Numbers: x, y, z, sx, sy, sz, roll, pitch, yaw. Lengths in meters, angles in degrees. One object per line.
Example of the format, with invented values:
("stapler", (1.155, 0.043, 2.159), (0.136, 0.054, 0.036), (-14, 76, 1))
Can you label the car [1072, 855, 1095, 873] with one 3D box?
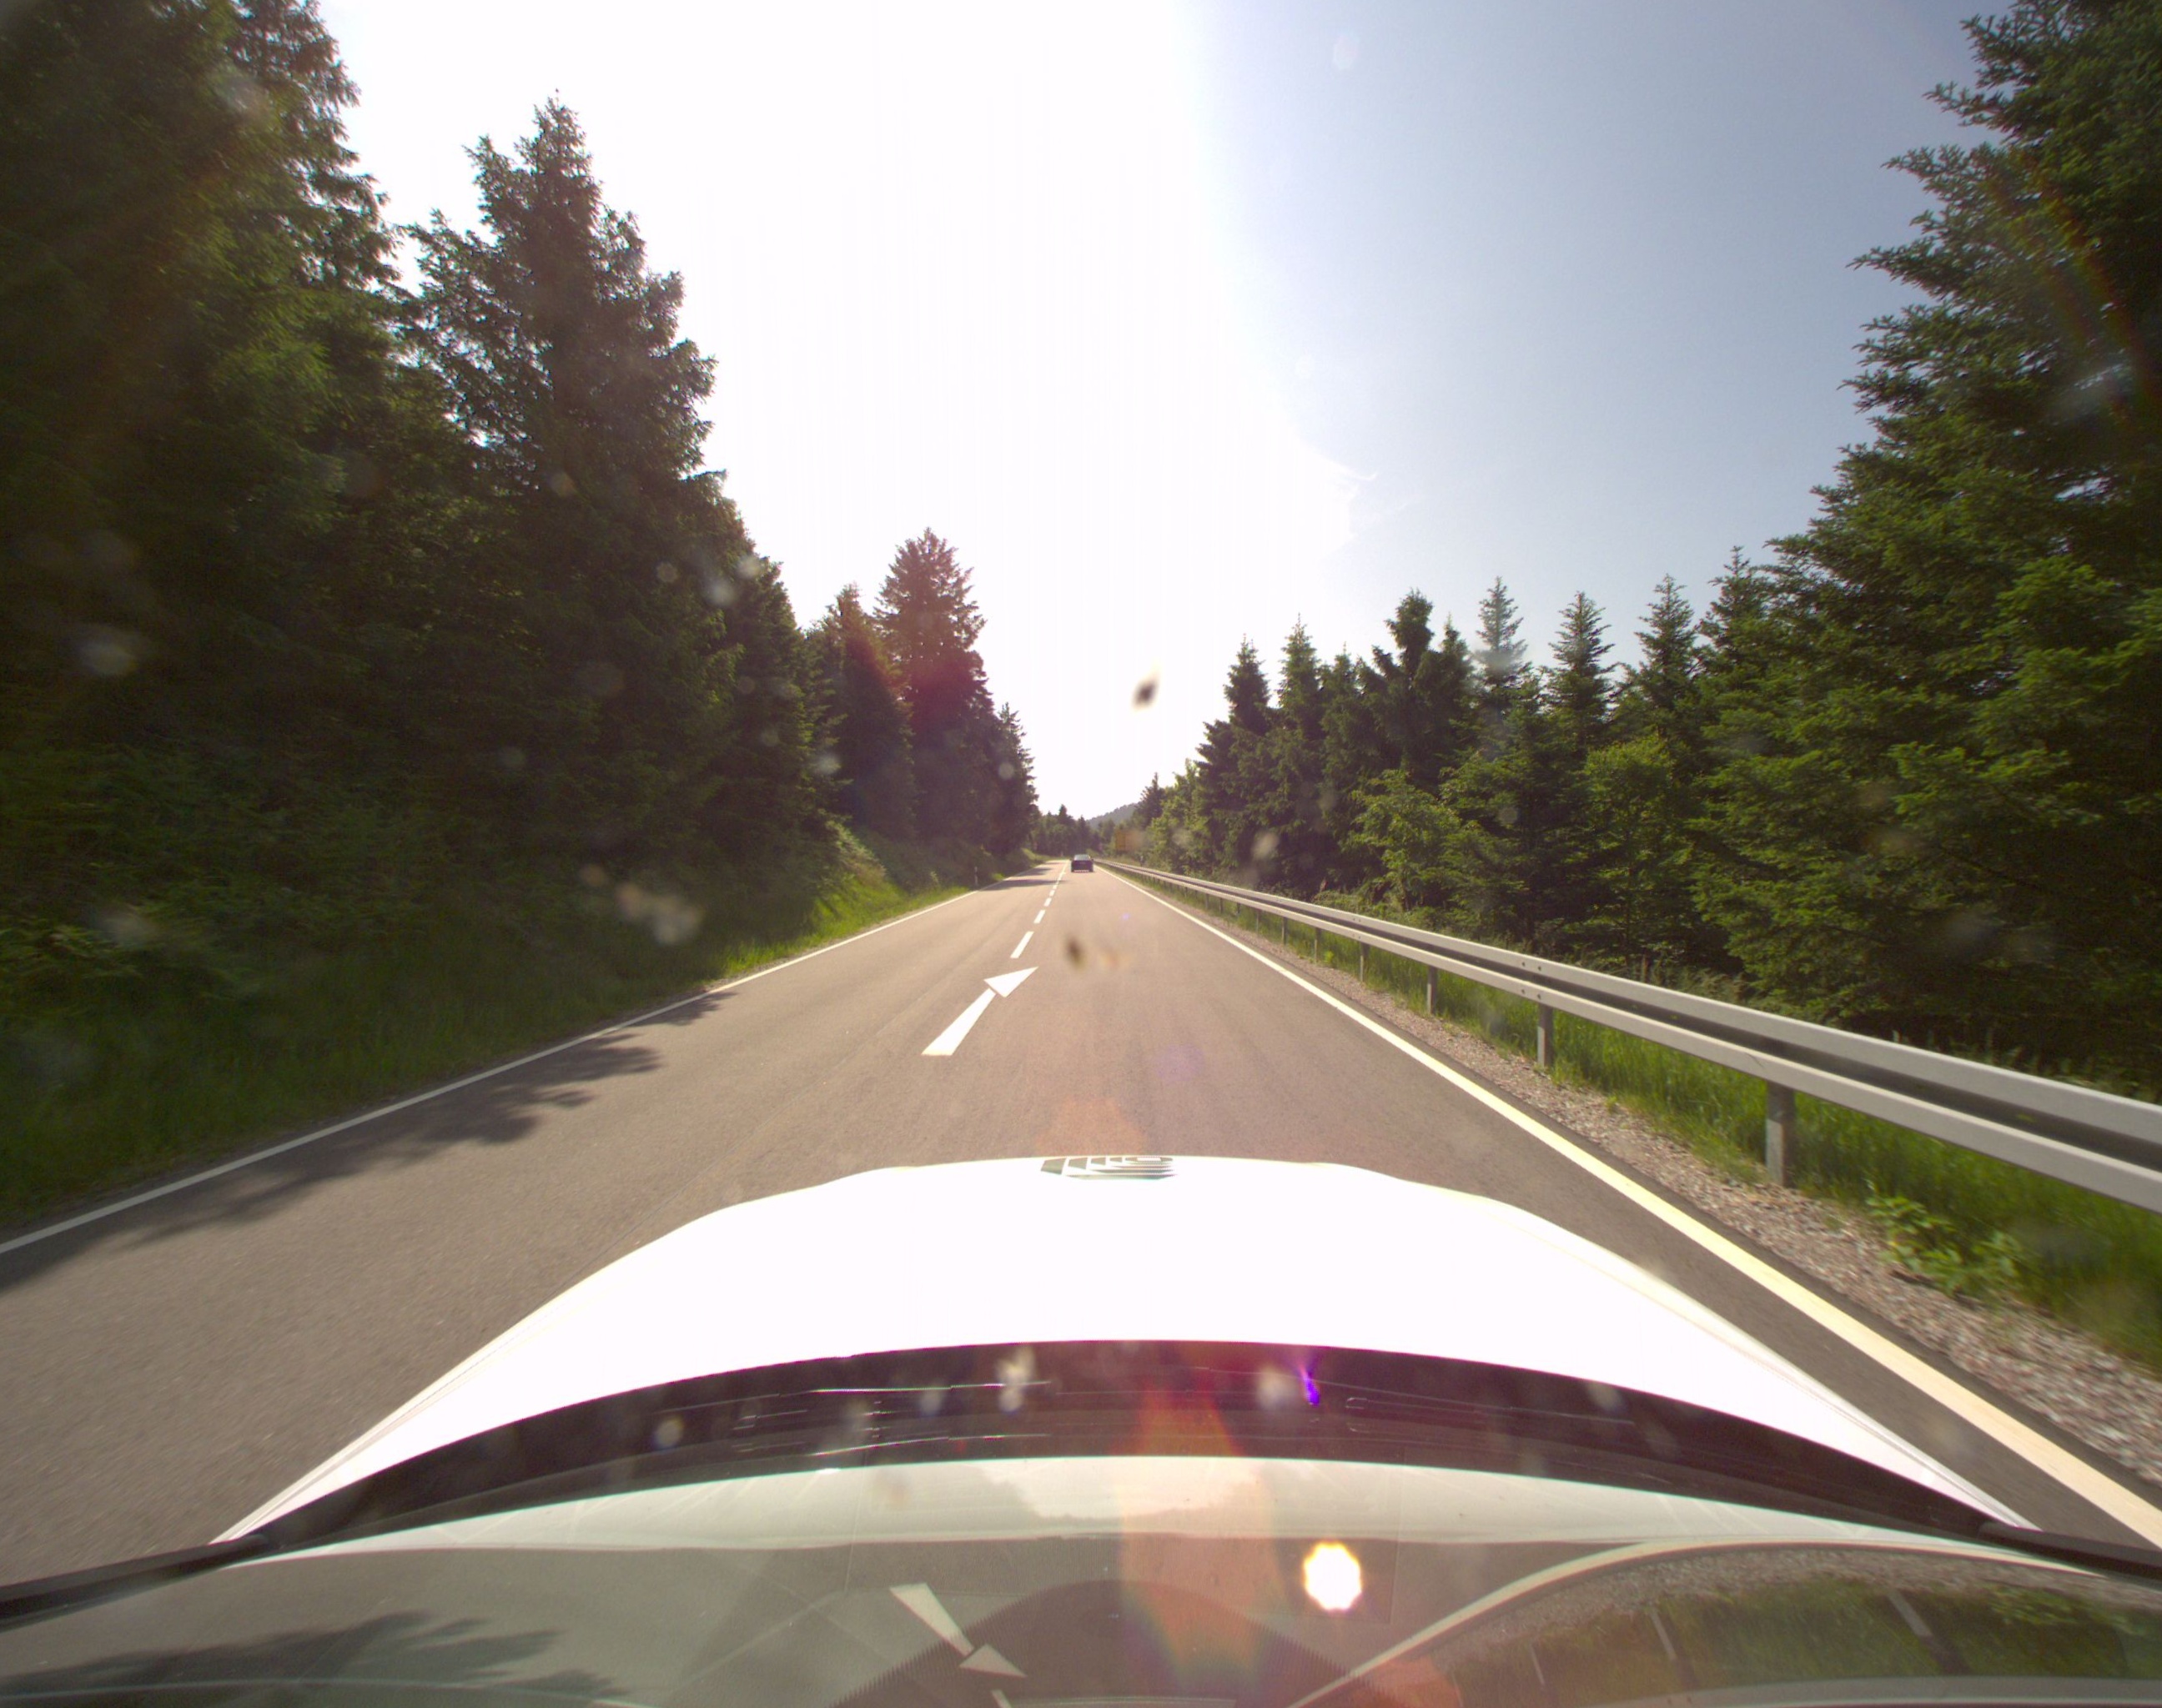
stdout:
("car", (0.197, 0.812, 67.261), (1.771, 1.442, 3.707), (-3, 0, -1))
